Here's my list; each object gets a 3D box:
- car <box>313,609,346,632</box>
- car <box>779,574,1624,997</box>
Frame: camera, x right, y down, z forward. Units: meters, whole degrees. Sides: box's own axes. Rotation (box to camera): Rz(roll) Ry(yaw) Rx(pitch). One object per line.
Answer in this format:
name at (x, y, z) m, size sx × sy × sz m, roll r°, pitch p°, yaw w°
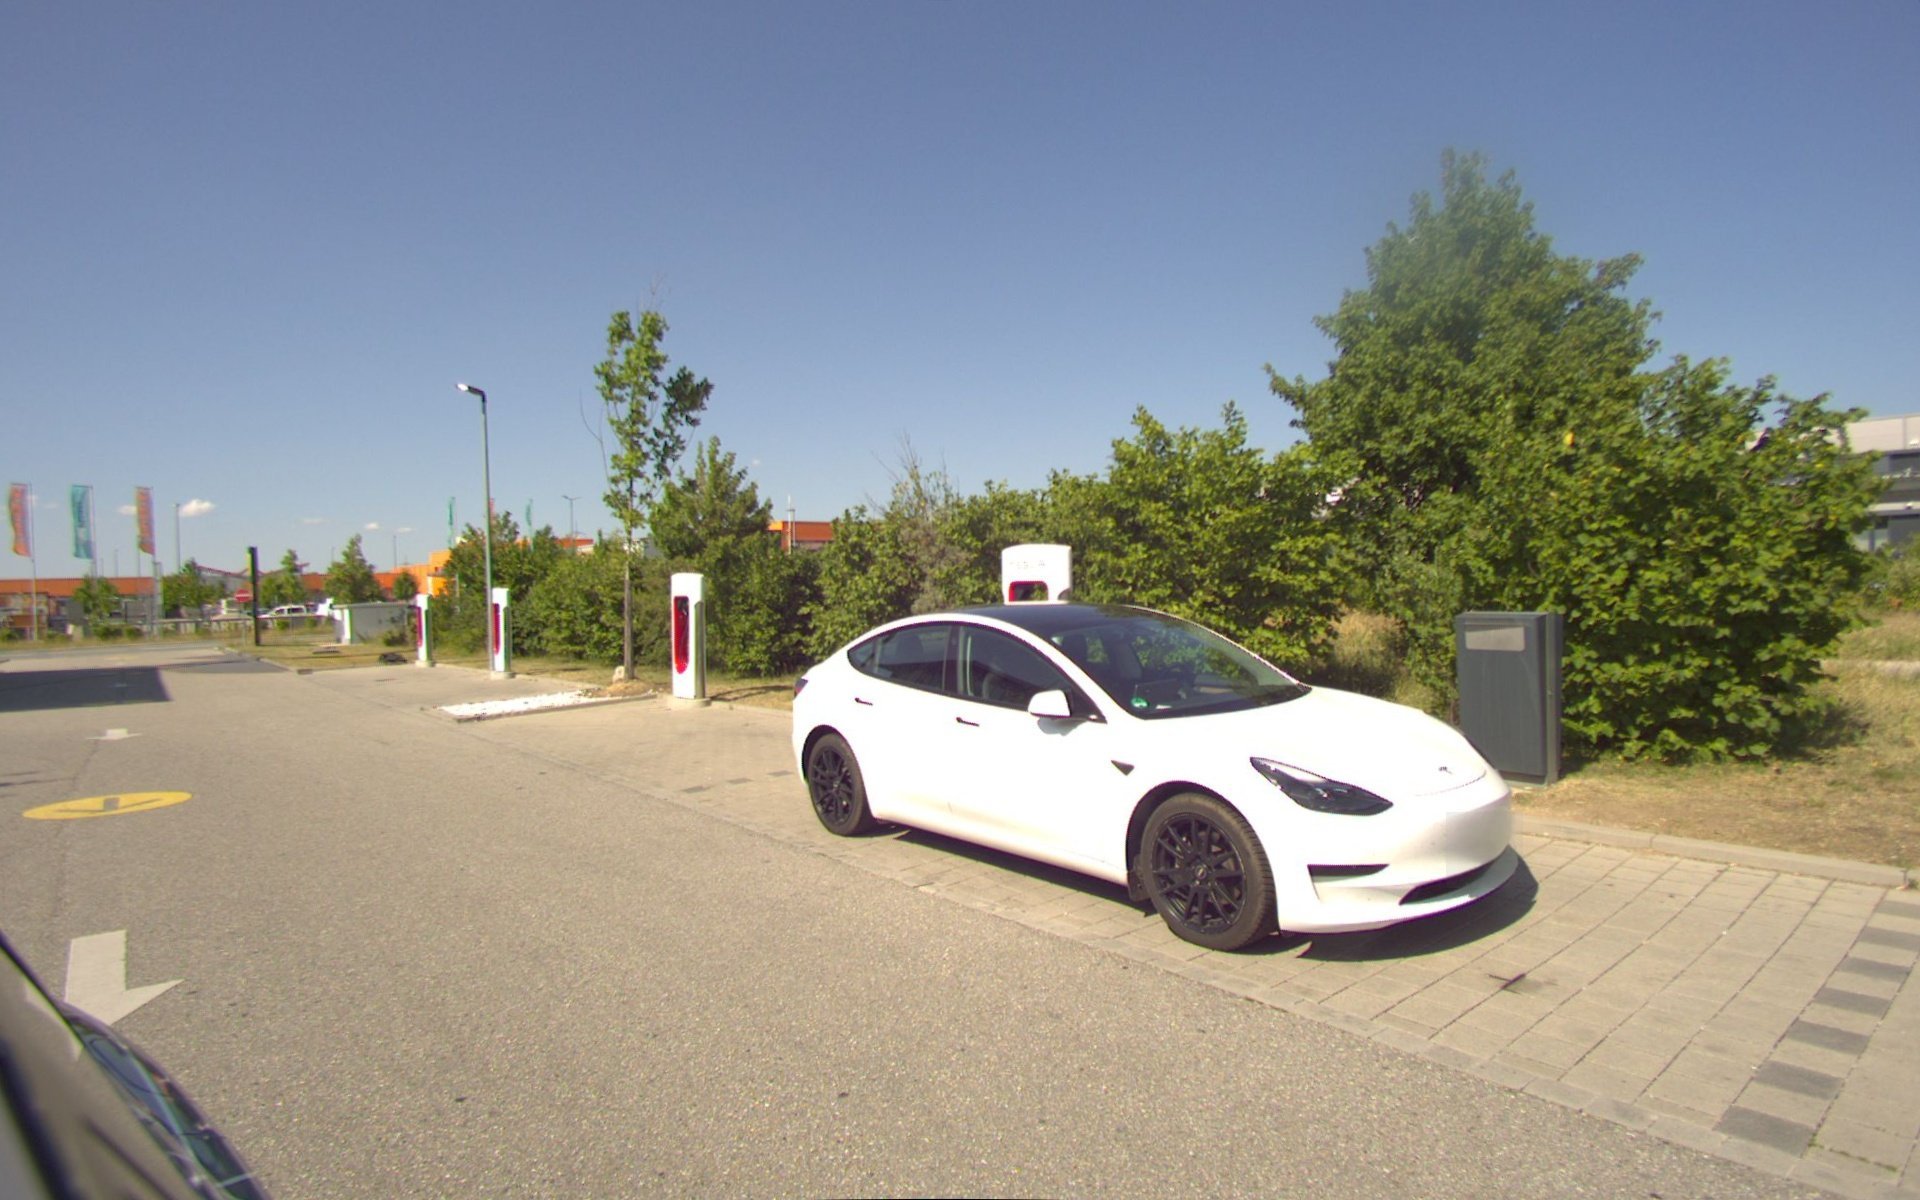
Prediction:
car at (-57.562, 1.860, 92.401) m, size 1.969 × 2.029 × 4.006 m, roll -2°, pitch 0°, yaw -40°
car at (0.866, 0.652, 5.712) m, size 1.793 × 1.388 × 4.457 m, roll -2°, pitch 0°, yaw -38°
